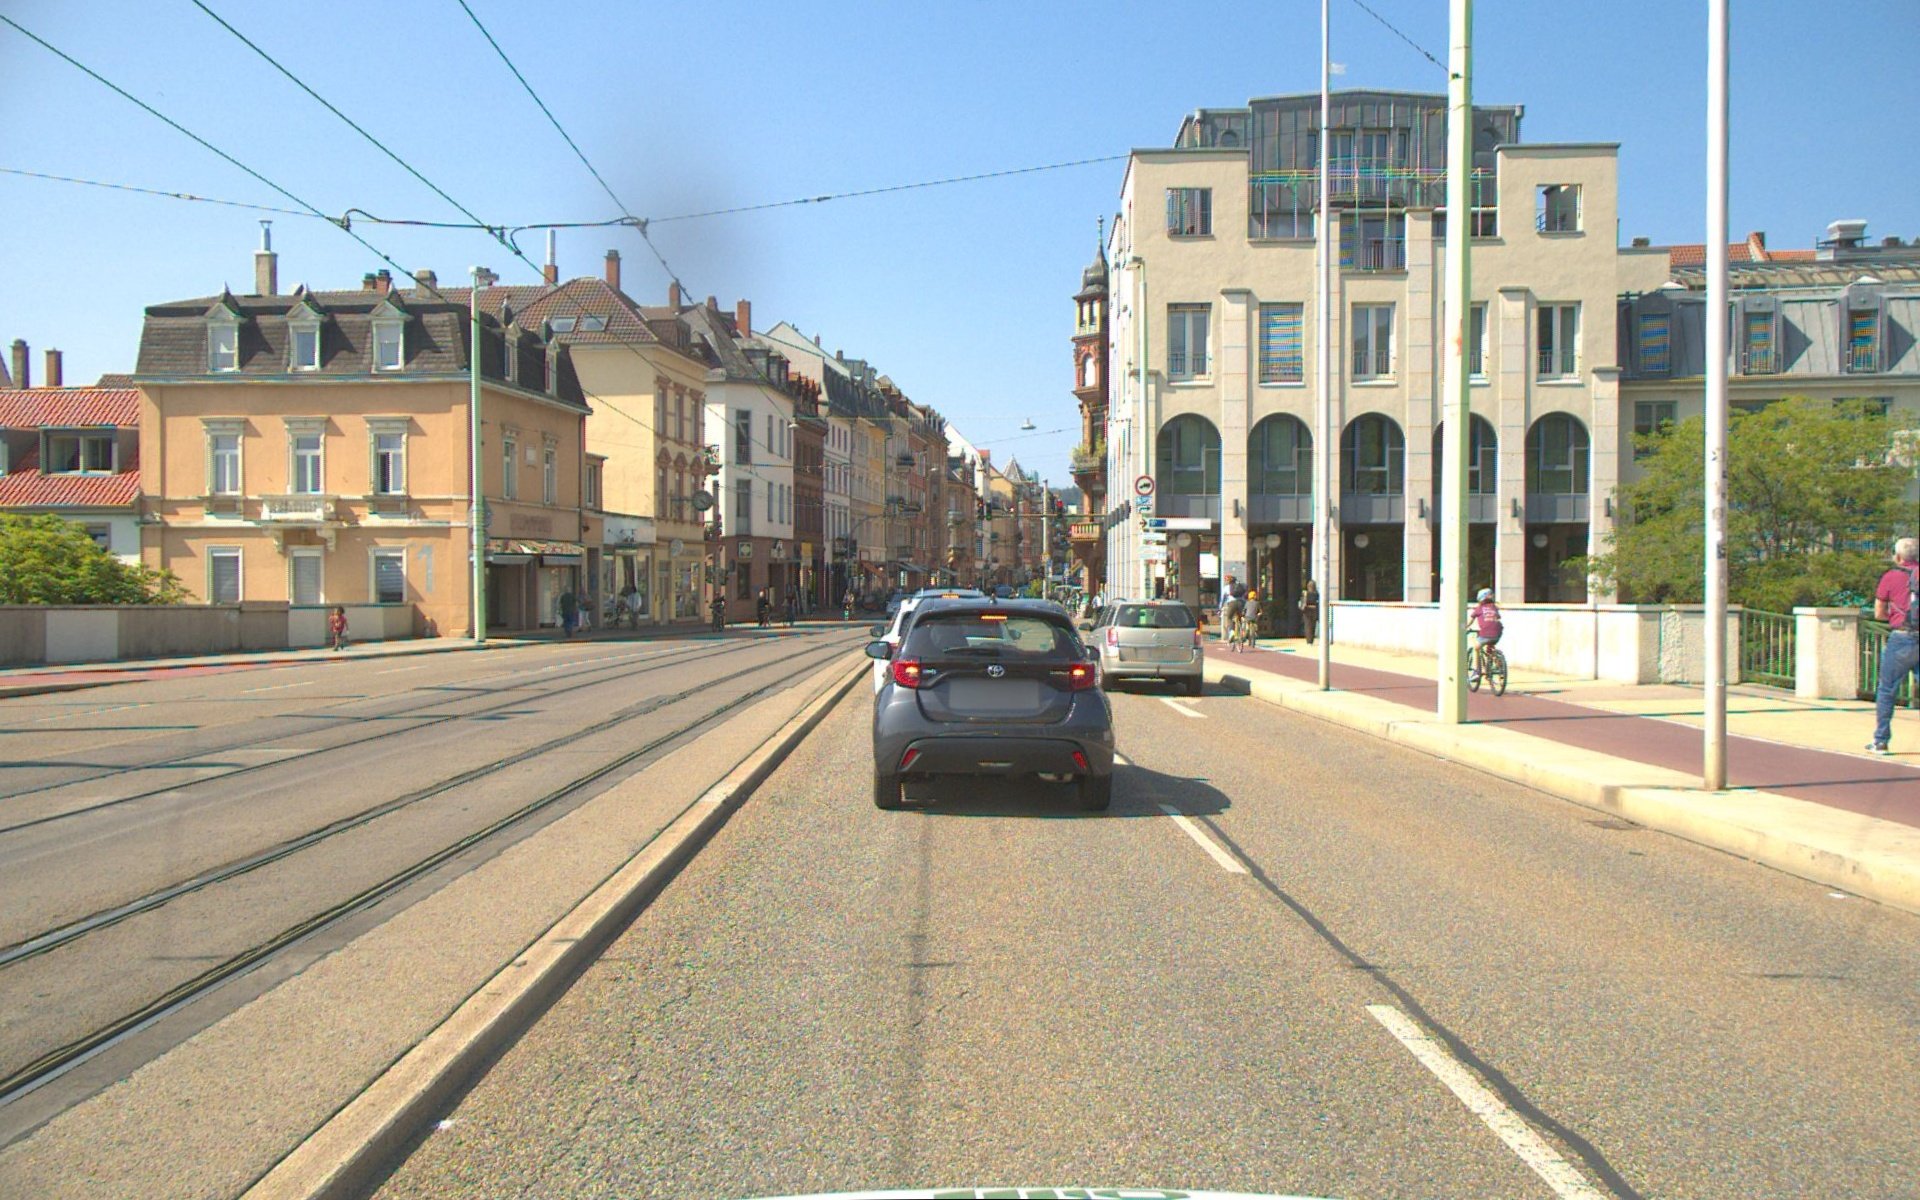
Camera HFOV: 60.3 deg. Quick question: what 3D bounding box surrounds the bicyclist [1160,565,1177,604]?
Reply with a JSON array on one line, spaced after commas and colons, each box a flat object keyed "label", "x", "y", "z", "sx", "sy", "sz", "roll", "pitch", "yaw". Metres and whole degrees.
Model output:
[{"label": "bicyclist", "x": 7.294, "y": -0.531, "z": 57.829, "sx": 0.527, "sy": 1.339, "sz": 0.672, "roll": -1, "pitch": 0, "yaw": 5}]

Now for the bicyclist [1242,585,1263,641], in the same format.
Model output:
[{"label": "bicyclist", "x": 7.483, "y": 0.334, "z": 42.321, "sx": 0.413, "sy": 1.407, "sz": 0.443, "roll": -2, "pitch": 0, "yaw": -1}]

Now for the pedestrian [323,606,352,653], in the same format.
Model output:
[{"label": "pedestrian", "x": -15.944, "y": 0.751, "z": 42.356, "sx": 0.403, "sy": 1.166, "sz": 0.545, "roll": 4, "pitch": 0, "yaw": 5}]

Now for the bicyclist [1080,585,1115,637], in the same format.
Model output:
[{"label": "bicyclist", "x": 7.053, "y": 0.574, "z": 84.903, "sx": 1.217, "sy": 2.572, "sz": 1.092, "roll": 4, "pitch": 0, "yaw": -33}]

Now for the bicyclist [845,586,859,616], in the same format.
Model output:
[{"label": "bicyclist", "x": -6.027, "y": 0.048, "z": 92.178, "sx": 0.614, "sy": 1.679, "sz": 0.622, "roll": 2, "pitch": 1, "yaw": 8}]

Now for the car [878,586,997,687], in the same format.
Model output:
[{"label": "car", "x": -0.387, "y": 0.571, "z": 28.277, "sx": 1.859, "sy": 1.557, "sz": 3.999, "roll": 1, "pitch": 0, "yaw": -1}]

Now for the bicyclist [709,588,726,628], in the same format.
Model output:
[{"label": "bicyclist", "x": -10.250, "y": 0.325, "z": 69.910, "sx": 0.614, "sy": 1.679, "sz": 0.622, "roll": 2, "pitch": 1, "yaw": 0}]

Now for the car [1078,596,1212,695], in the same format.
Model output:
[{"label": "car", "x": 3.005, "y": 0.700, "z": 27.655, "sx": 1.671, "sy": 1.491, "sz": 4.325, "roll": 1, "pitch": 0, "yaw": -1}]

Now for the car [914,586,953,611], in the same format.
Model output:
[{"label": "car", "x": -1.731, "y": -0.113, "z": 109.130, "sx": 1.951, "sy": 1.614, "sz": 4.656, "roll": 0, "pitch": 0, "yaw": 7}]

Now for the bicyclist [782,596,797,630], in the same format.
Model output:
[{"label": "bicyclist", "x": -8.532, "y": 0.660, "z": 82.750, "sx": 0.614, "sy": 1.679, "sz": 0.622, "roll": 2, "pitch": 1, "yaw": 0}]

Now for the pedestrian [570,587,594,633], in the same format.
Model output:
[{"label": "pedestrian", "x": -13.990, "y": 0.379, "z": 61.208, "sx": 0.636, "sy": 1.629, "sz": 0.566, "roll": 4, "pitch": 2, "yaw": 0}]

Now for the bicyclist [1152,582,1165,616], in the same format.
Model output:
[{"label": "bicyclist", "x": 7.485, "y": -0.052, "z": 62.510, "sx": 0.413, "sy": 1.278, "sz": 0.443, "roll": -2, "pitch": 0, "yaw": 2}]

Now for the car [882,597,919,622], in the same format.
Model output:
[{"label": "car", "x": -3.500, "y": 0.547, "z": 97.649, "sx": 1.694, "sy": 1.486, "sz": 4.376, "roll": 0, "pitch": 0, "yaw": 5}]

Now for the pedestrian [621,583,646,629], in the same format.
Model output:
[{"label": "pedestrian", "x": -12.998, "y": 0.239, "z": 65.800, "sx": 0.721, "sy": 1.797, "sz": 0.787, "roll": 4, "pitch": 0, "yaw": 0}]

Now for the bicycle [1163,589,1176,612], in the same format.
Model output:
[{"label": "bicycle", "x": 7.323, "y": 0.010, "z": 57.838, "sx": 0.407, "sy": 0.779, "sz": 1.206, "roll": -2, "pitch": 0, "yaw": 5}]

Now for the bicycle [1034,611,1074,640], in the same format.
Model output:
[{"label": "bicycle", "x": 5.110, "y": 1.378, "z": 89.909, "sx": 1.095, "sy": 1.444, "sz": 2.992, "roll": 3, "pitch": 0, "yaw": -18}]

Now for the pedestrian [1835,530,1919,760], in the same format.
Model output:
[{"label": "pedestrian", "x": 7.921, "y": 0.347, "z": 13.718, "sx": 0.724, "sy": 1.833, "sz": 1.015, "roll": -2, "pitch": 0, "yaw": -1}]

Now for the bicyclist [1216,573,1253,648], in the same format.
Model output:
[{"label": "bicyclist", "x": 6.421, "y": 0.234, "z": 38.691, "sx": 0.687, "sy": 1.725, "sz": 0.924, "roll": -1, "pitch": 0, "yaw": 0}]

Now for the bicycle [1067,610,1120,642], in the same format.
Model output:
[{"label": "bicycle", "x": 6.860, "y": 1.338, "z": 85.169, "sx": 1.102, "sy": 1.444, "sz": 2.973, "roll": 3, "pitch": 0, "yaw": -33}]

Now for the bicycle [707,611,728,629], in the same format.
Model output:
[{"label": "bicycle", "x": -10.267, "y": 0.844, "z": 70.004, "sx": 0.607, "sy": 0.728, "sz": 1.771, "roll": 2, "pitch": 1, "yaw": 0}]

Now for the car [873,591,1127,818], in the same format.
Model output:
[{"label": "car", "x": 0.242, "y": 0.698, "z": 12.992, "sx": 1.685, "sy": 1.499, "sz": 3.657, "roll": 1, "pitch": 0, "yaw": -1}]

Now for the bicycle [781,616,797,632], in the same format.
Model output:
[{"label": "bicycle", "x": -8.554, "y": 1.221, "z": 82.775, "sx": 0.607, "sy": 0.728, "sz": 1.731, "roll": 2, "pitch": 1, "yaw": 0}]

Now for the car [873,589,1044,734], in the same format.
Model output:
[{"label": "car", "x": -0.047, "y": 0.671, "z": 20.214, "sx": 1.859, "sy": 1.557, "sz": 3.999, "roll": 1, "pitch": 0, "yaw": -1}]

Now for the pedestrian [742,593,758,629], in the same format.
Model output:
[{"label": "pedestrian", "x": -10.830, "y": 0.569, "z": 85.472, "sx": 0.721, "sy": 1.797, "sz": 0.787, "roll": 0, "pitch": 1, "yaw": 0}]

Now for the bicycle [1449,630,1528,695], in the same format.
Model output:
[{"label": "bicycle", "x": 7.034, "y": 0.814, "z": 22.076, "sx": 0.503, "sy": 0.779, "sz": 1.660, "roll": -2, "pitch": 0, "yaw": 0}]

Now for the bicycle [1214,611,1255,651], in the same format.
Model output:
[{"label": "bicycle", "x": 6.423, "y": 0.713, "z": 38.789, "sx": 0.689, "sy": 0.898, "sz": 1.525, "roll": -1, "pitch": 0, "yaw": 0}]

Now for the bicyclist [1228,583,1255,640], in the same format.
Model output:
[{"label": "bicyclist", "x": 7.477, "y": 0.306, "z": 43.937, "sx": 0.480, "sy": 1.492, "sz": 0.437, "roll": -2, "pitch": 0, "yaw": -40}]

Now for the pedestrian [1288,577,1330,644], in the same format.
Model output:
[{"label": "pedestrian", "x": 8.879, "y": 0.264, "z": 42.095, "sx": 0.724, "sy": 1.642, "sz": 1.015, "roll": 4, "pitch": 0, "yaw": -1}]

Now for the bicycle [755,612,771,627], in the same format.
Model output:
[{"label": "bicycle", "x": -10.140, "y": 0.983, "z": 85.082, "sx": 0.607, "sy": 0.728, "sz": 1.771, "roll": 1, "pitch": 1, "yaw": 0}]

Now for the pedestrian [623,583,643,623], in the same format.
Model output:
[{"label": "pedestrian", "x": -13.863, "y": 0.142, "z": 70.073, "sx": 0.636, "sy": 1.629, "sz": 0.566, "roll": 4, "pitch": 2, "yaw": 0}]

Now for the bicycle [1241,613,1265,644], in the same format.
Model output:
[{"label": "bicycle", "x": 7.496, "y": 0.722, "z": 42.317, "sx": 0.408, "sy": 0.779, "sz": 0.961, "roll": -2, "pitch": 0, "yaw": 0}]

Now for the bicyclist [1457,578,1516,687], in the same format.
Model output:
[{"label": "bicyclist", "x": 7.018, "y": 0.428, "z": 22.070, "sx": 0.523, "sy": 1.407, "sz": 0.669, "roll": -2, "pitch": 0, "yaw": -1}]

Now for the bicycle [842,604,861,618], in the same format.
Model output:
[{"label": "bicycle", "x": -6.048, "y": 0.623, "z": 92.175, "sx": 0.607, "sy": 0.728, "sz": 2.047, "roll": 2, "pitch": 1, "yaw": 9}]

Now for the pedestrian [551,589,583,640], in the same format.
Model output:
[{"label": "pedestrian", "x": -13.404, "y": 0.487, "z": 56.421, "sx": 0.746, "sy": 1.682, "sz": 0.712, "roll": 4, "pitch": 0, "yaw": 7}]

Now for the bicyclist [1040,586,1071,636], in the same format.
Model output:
[{"label": "bicyclist", "x": 5.186, "y": 0.601, "z": 89.870, "sx": 1.209, "sy": 2.572, "sz": 1.100, "roll": 4, "pitch": 0, "yaw": -17}]
